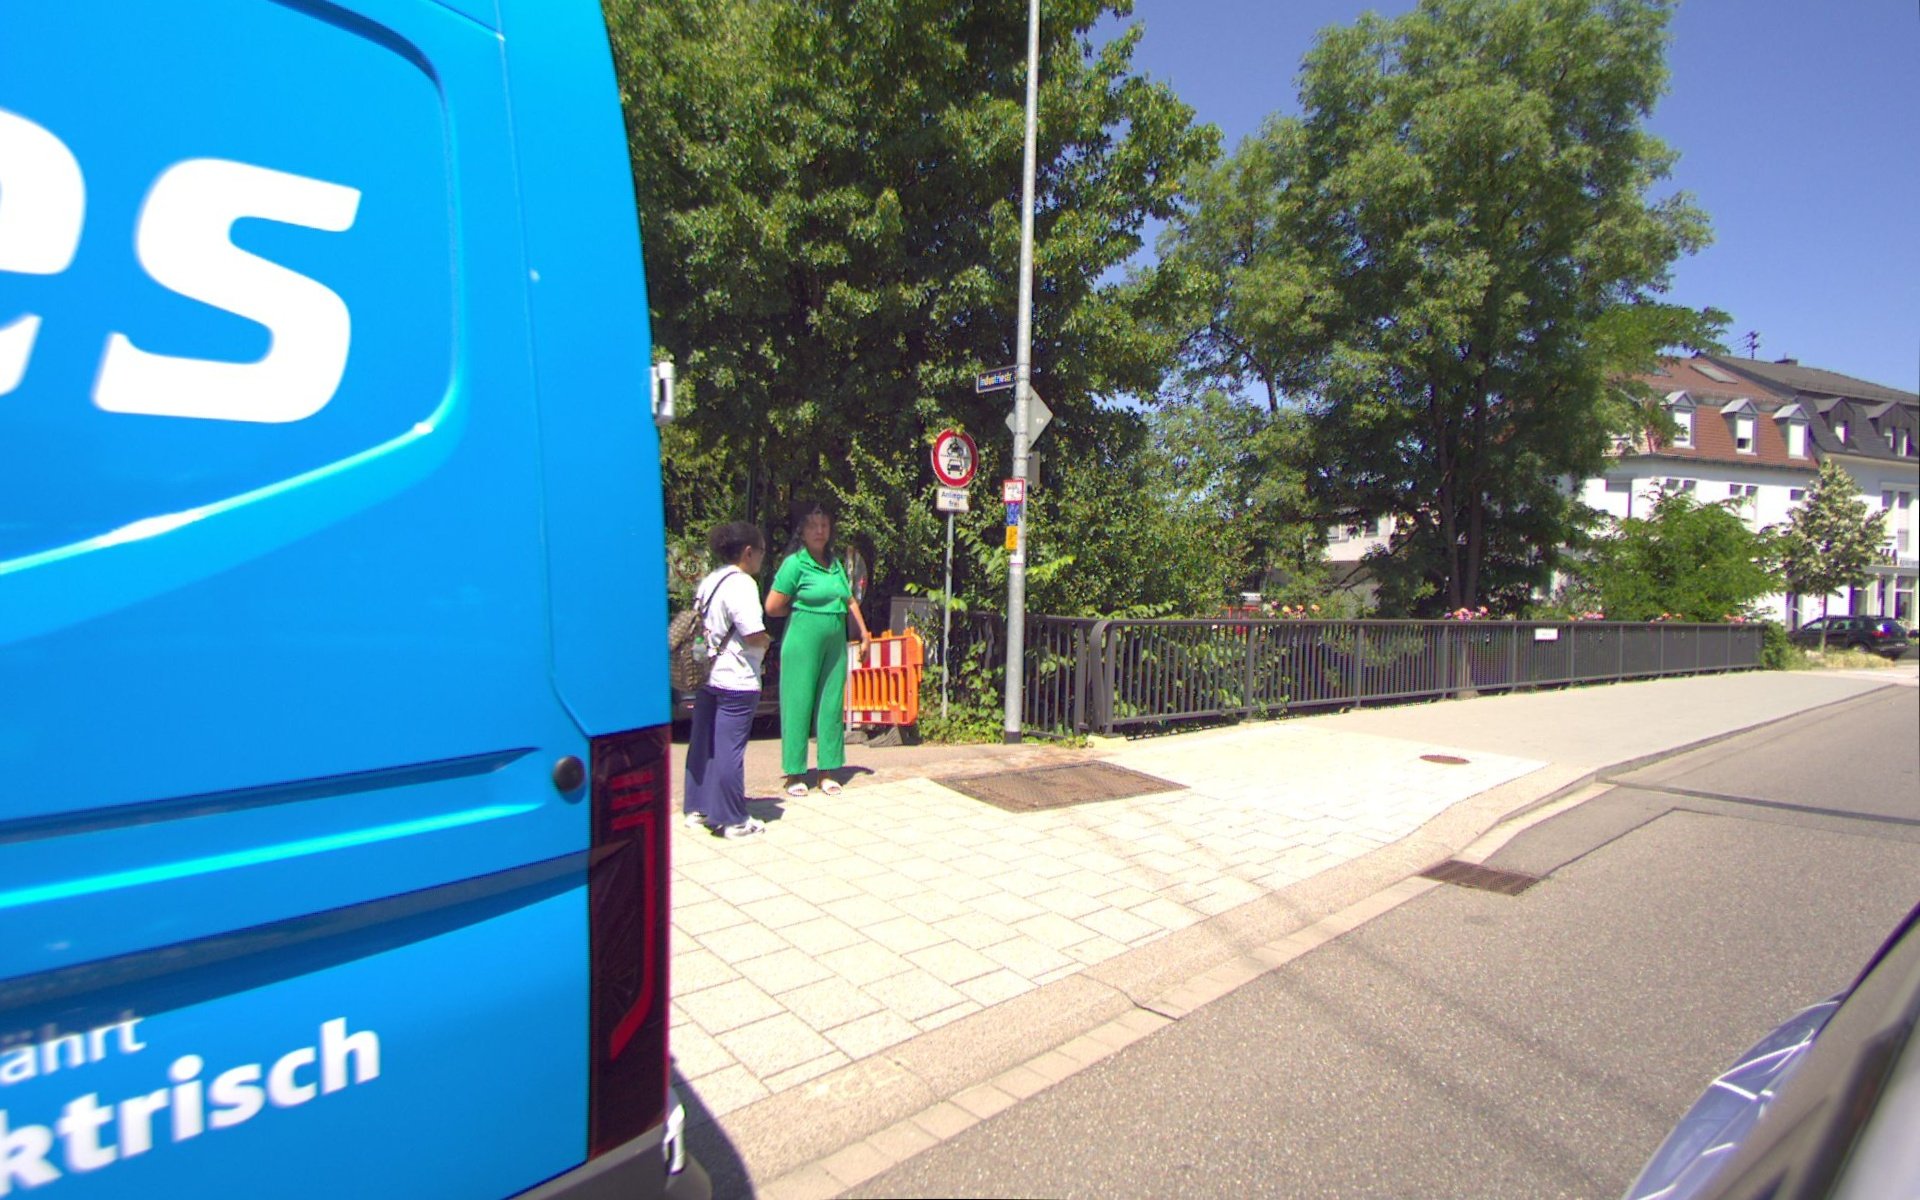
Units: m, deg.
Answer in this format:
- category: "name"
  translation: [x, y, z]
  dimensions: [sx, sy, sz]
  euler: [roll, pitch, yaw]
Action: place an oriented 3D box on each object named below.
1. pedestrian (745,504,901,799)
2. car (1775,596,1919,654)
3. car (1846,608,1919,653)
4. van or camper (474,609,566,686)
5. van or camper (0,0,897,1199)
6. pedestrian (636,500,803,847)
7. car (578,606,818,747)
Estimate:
- category: "pedestrian"
  translation: [-0.860, 0.291, 6.451]
  dimensions: [0.517, 1.727, 0.796]
  euler: [5, 3, 28]
- category: "car"
  translation: [33.338, 0.918, 37.871]
  dimensions: [1.958, 2.039, 4.007]
  euler: [1, -1, -15]
- category: "car"
  translation: [36.721, 1.159, 38.570]
  dimensions: [1.958, 1.691, 4.007]
  euler: [1, -1, -15]
- category: "van or camper"
  translation: [-10.317, 1.040, 23.610]
  dimensions: [1.642, 1.594, 3.539]
  euler: [1, 0, -29]
- category: "van or camper"
  translation: [-3.092, 0.173, 0.177]
  dimensions: [6.067, 2.497, 2.113]
  euler: [0, 3, -40]
- category: "pedestrian"
  translation: [-1.267, 0.343, 5.294]
  dimensions: [0.512, 1.674, 0.637]
  euler: [2, 3, -44]
- category: "car"
  translation: [-3.512, 0.896, 12.920]
  dimensions: [1.613, 1.486, 4.404]
  euler: [1, -3, -34]
